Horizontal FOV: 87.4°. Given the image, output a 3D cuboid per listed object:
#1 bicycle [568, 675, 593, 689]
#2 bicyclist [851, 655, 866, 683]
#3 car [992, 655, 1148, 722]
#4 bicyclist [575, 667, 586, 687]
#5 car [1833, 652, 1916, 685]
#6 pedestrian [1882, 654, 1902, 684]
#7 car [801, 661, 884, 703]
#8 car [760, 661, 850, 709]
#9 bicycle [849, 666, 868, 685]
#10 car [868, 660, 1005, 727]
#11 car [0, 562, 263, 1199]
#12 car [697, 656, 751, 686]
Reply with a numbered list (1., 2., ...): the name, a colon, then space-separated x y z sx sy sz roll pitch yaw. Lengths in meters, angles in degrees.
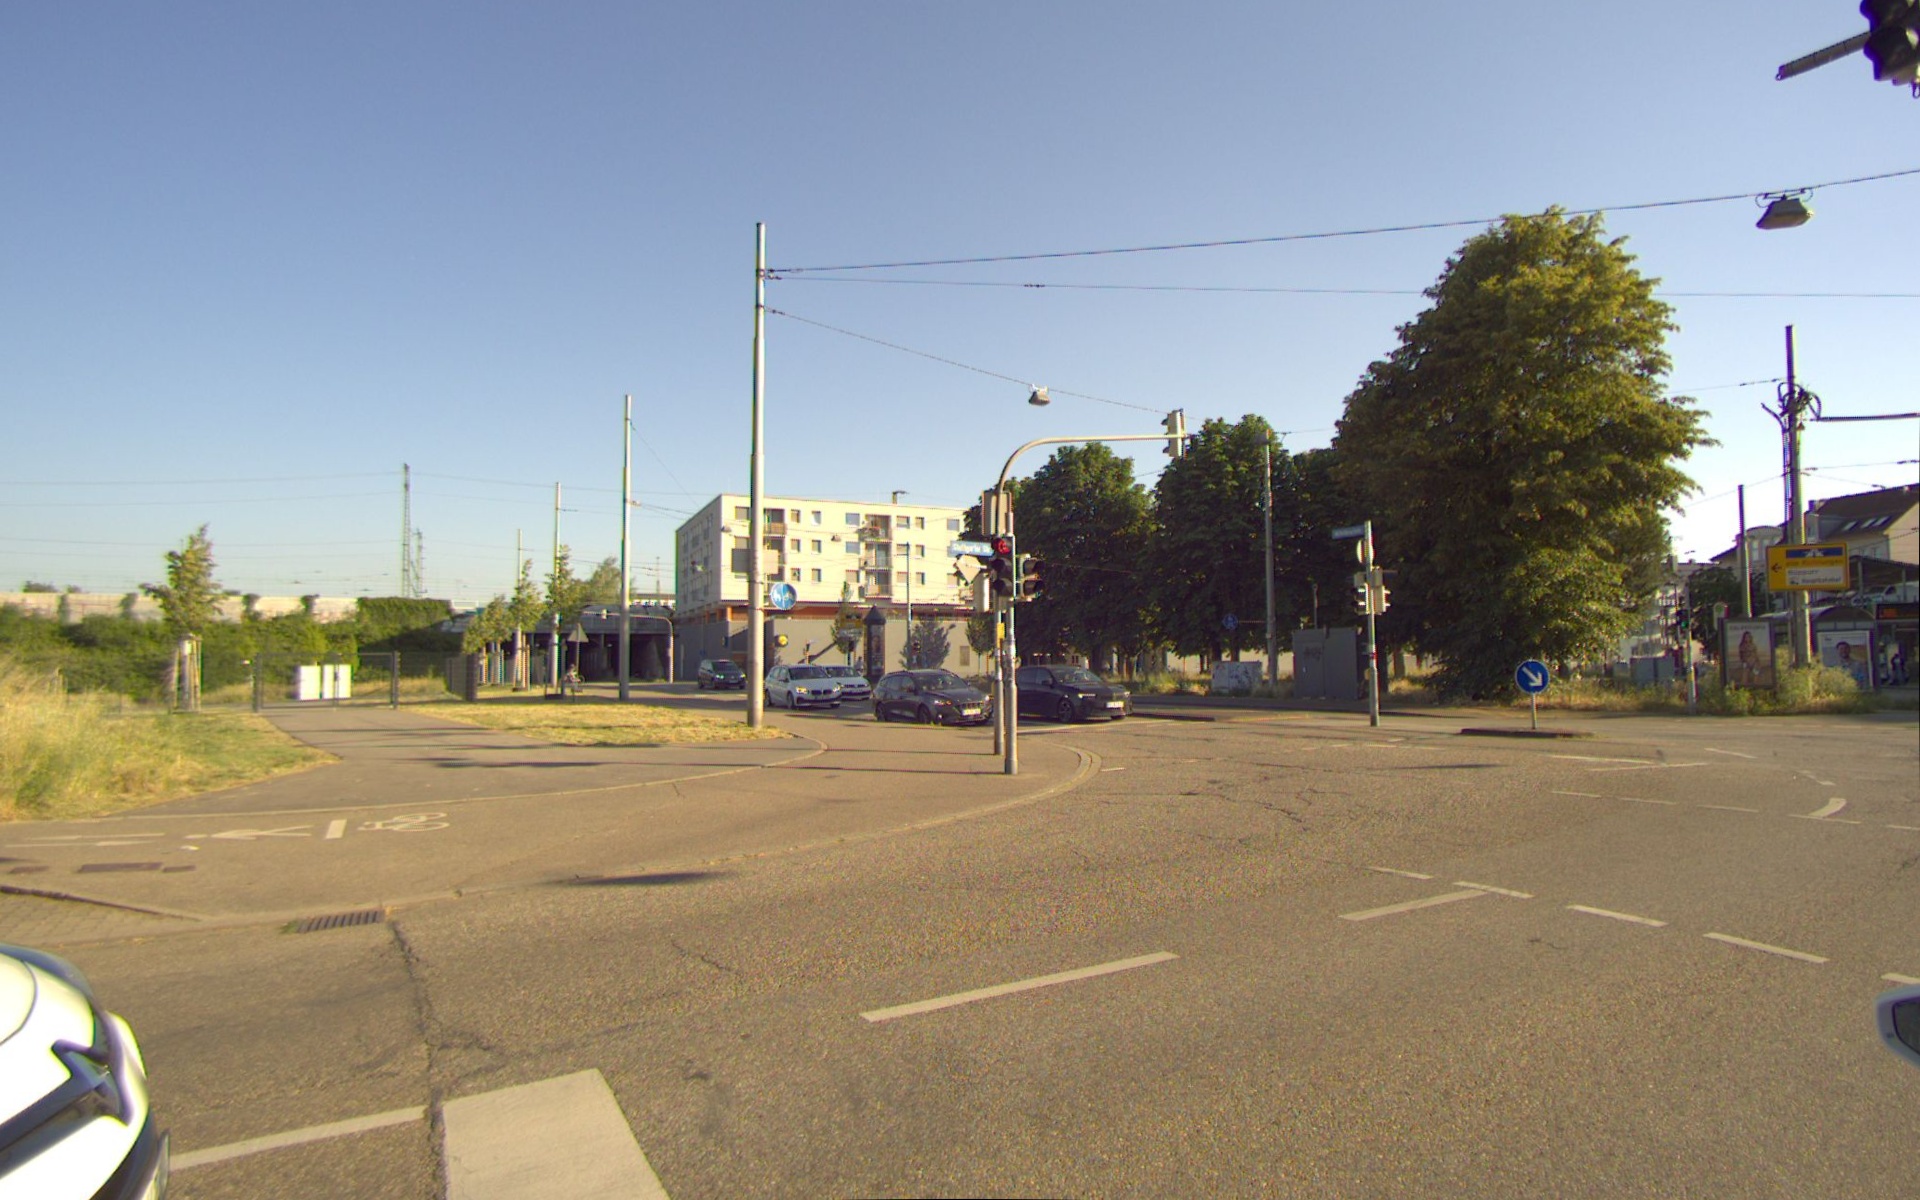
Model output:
1. bicycle: -32.455 7.032 85.959 1.968 1.127 0.649 1 -3 -21
2. bicyclist: -6.227 4.203 61.414 0.702 1.650 1.037 1 -2 -19
3. car: 2.769 2.259 26.409 2.027 1.587 4.423 1 -4 -26
4. bicyclist: -32.465 6.586 85.954 0.769 1.770 0.563 1 -3 -18
5. car: 59.351 4.419 65.345 2.017 1.987 5.153 -4 -4 19
6. pedestrian: 47.956 3.533 51.688 0.558 1.520 0.677 -2 -4 32
7. car: -4.901 3.327 41.328 1.975 1.587 4.426 1 -4 -27
8. car: -5.637 3.021 36.205 1.975 1.587 4.246 1 -4 -27
9. bicycle: -6.184 4.607 61.281 0.689 1.157 2.193 1 -4 -19
10. car: -0.727 2.418 26.686 1.975 1.587 4.246 1 -4 -27
11. car: -3.063 0.701 1.009 3.733 1.488 1.692 2 -4 -32
12. car: -13.387 4.005 56.800 1.975 1.587 4.426 1 -4 -27
